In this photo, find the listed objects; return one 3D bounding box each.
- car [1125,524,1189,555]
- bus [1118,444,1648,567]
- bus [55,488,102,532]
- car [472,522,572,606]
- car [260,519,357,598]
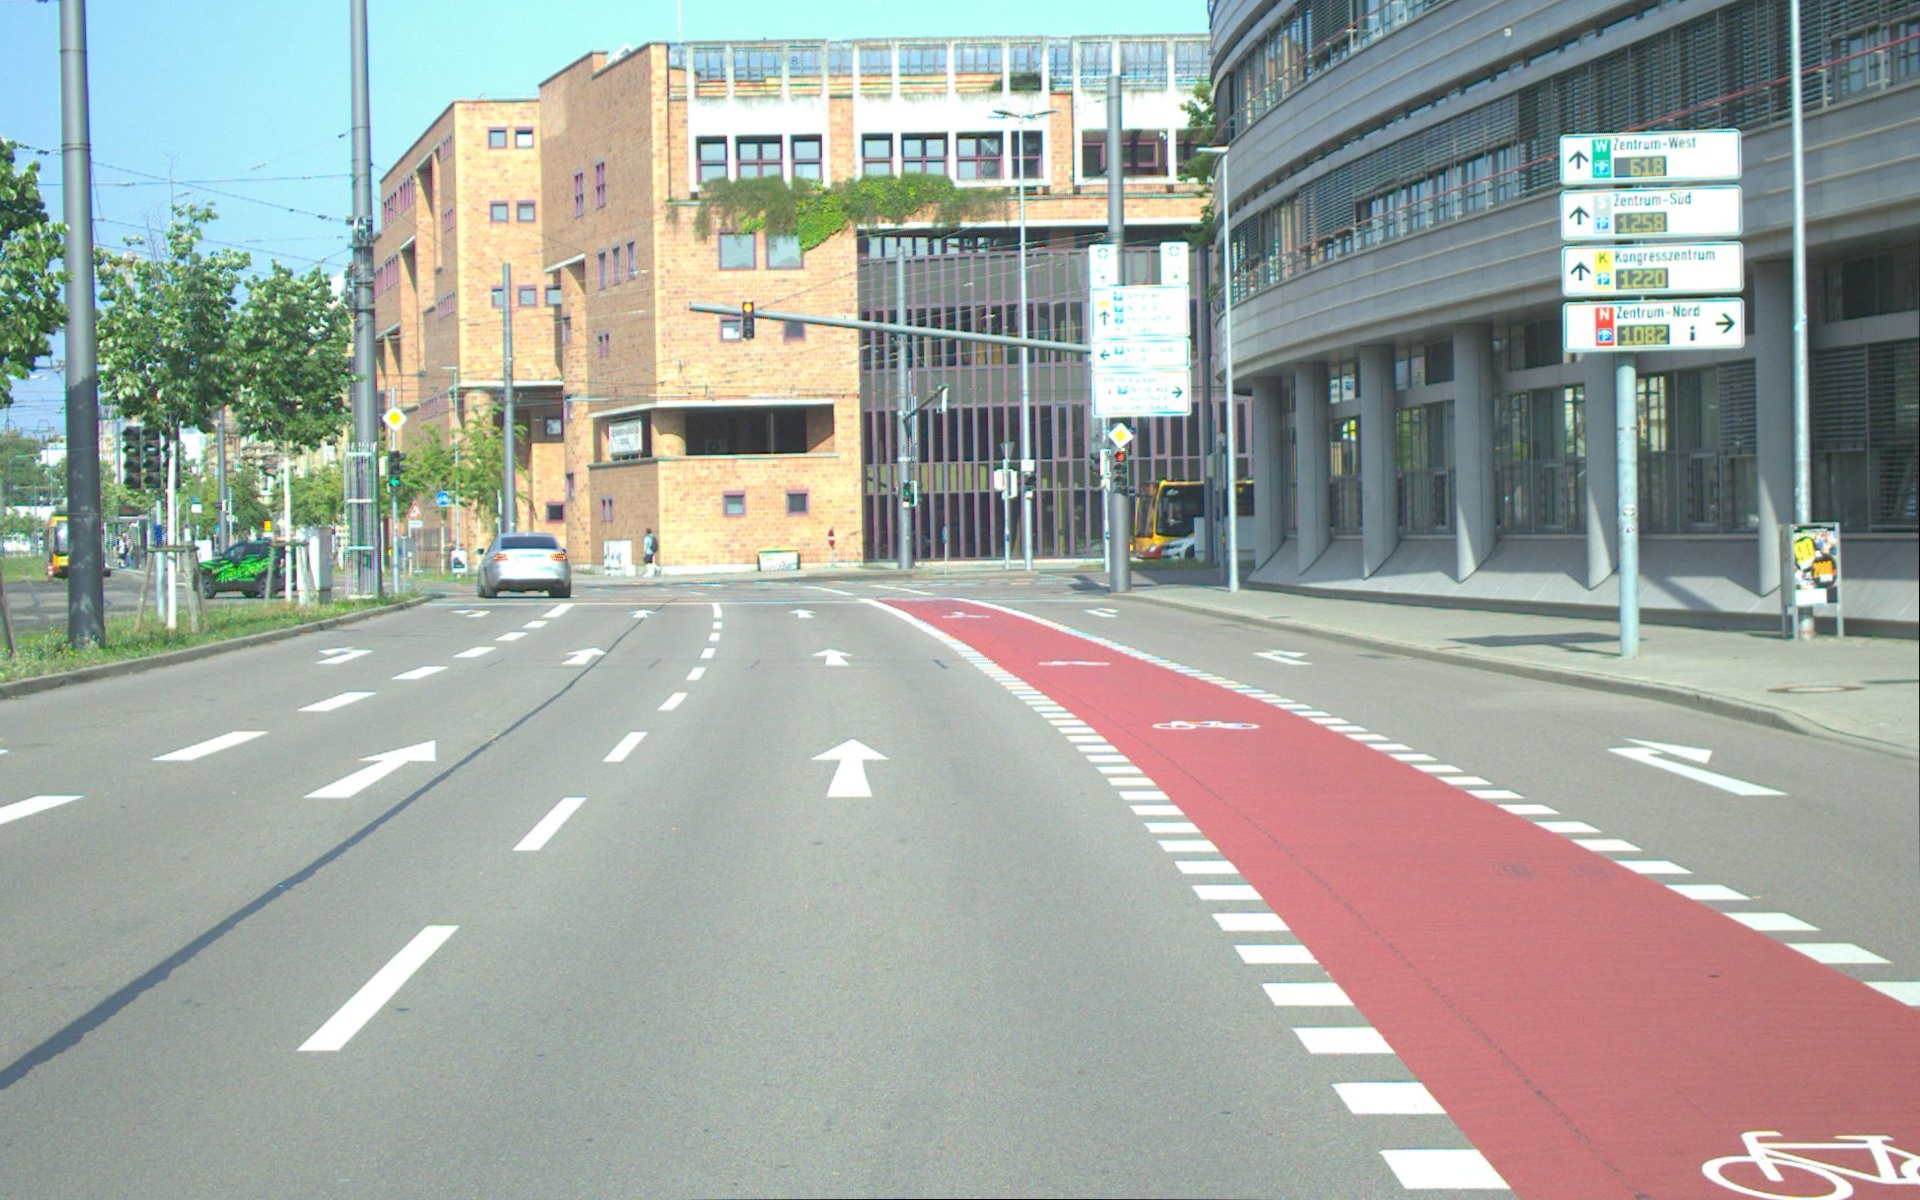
[{"bbox_3d":[6.470,-1.986,113.000,1.951,0.955,1.094,1,-1,-5],"label":"car"},{"bbox_3d":[14.338,-3.207,116.966,17.607,3.797,2.865,-1,0,-4],"label":"bus"},{"bbox_3d":[-42.769,-4.360,166.819,1.993,2.007,4.001,-1,0,-17],"label":"bus"},{"bbox_3d":[-9.680,-0.773,75.739,1.704,1.749,3.891,-1,0,-14],"label":"car"},{"bbox_3d":[-17.373,-1.077,91.850,1.993,2.007,4.243,-1,0,-3],"label":"car"}]
